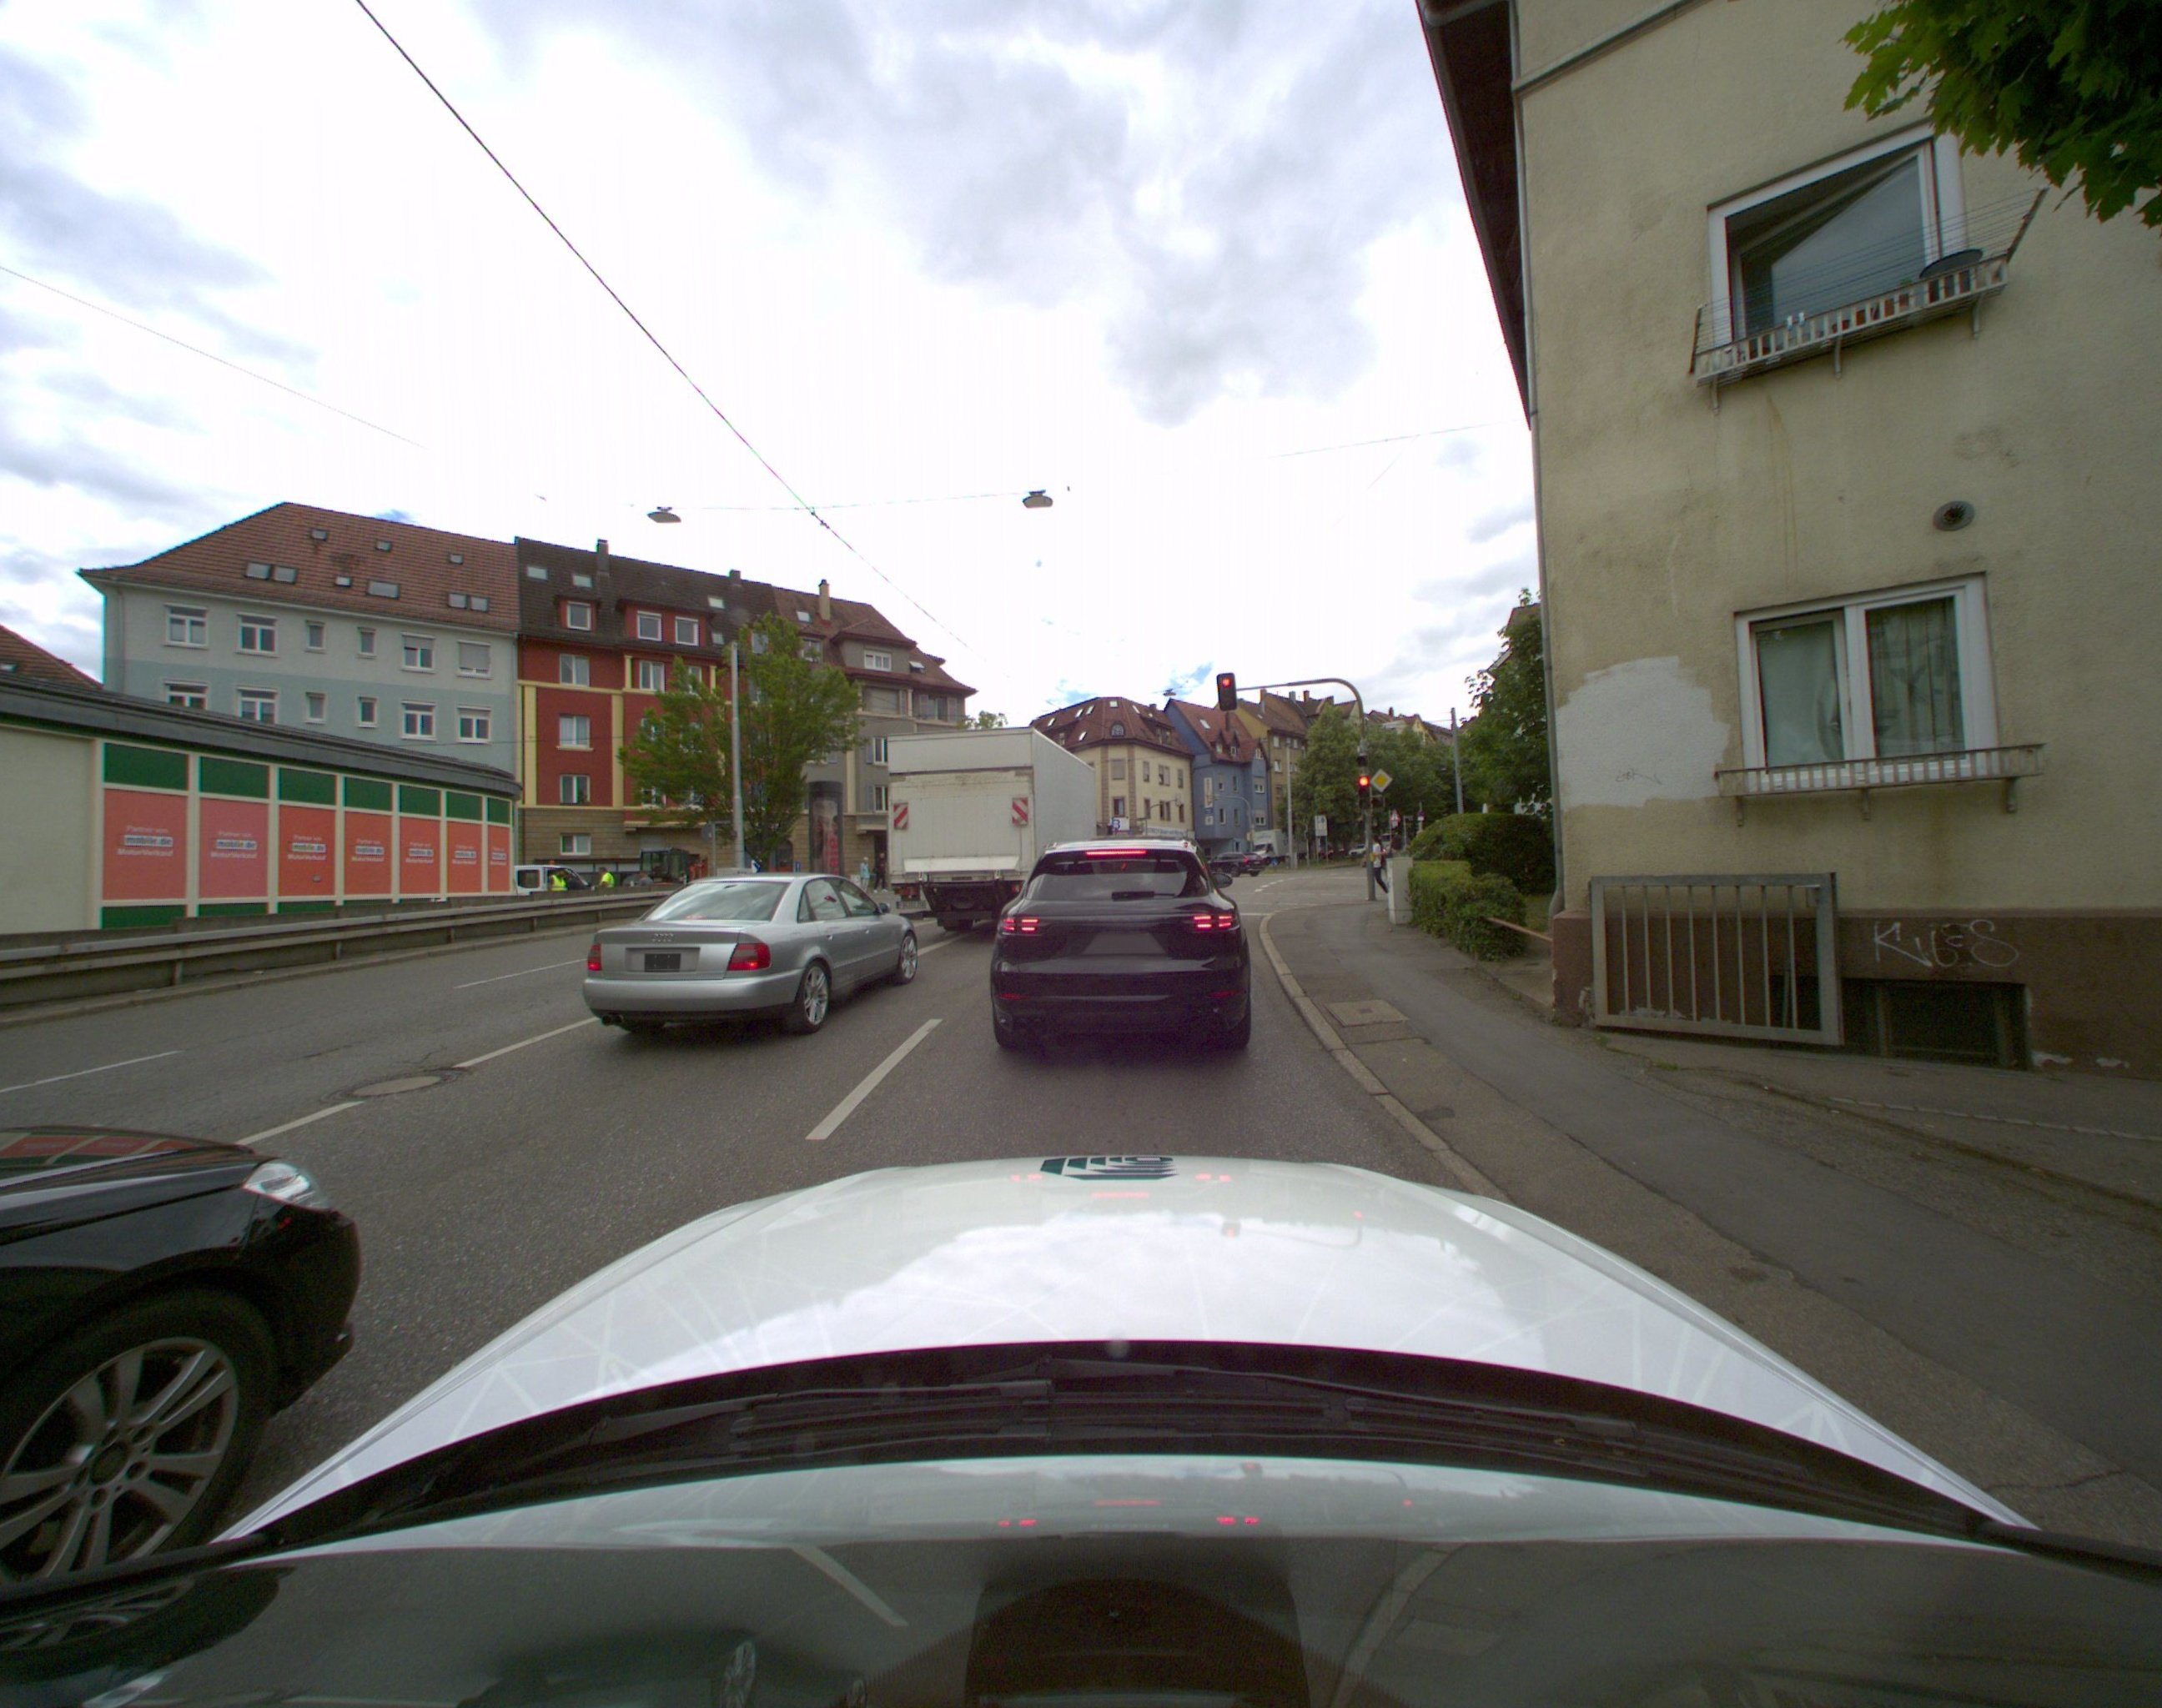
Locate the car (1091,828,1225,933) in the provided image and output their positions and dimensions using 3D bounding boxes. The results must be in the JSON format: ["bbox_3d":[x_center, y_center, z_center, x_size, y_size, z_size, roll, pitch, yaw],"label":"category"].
[{"bbox_3d":[1.581,0.443,15.167,1.980,1.684,4.014,-1,0,12],"label":"car"}]

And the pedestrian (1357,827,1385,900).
[{"bbox_3d":[7.336,0.246,20.599,0.585,1.819,0.531,1,-1,12],"label":"pedestrian"}]

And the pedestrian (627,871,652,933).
[{"bbox_3d":[-12.594,1.362,23.220,0.545,1.730,0.587,1,-1,-33],"label":"pedestrian"}]

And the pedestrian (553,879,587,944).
[{"bbox_3d":[-13.707,1.528,21.858,0.562,1.700,0.541,1,-1,-10],"label":"pedestrian"}]

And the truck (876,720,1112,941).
[{"bbox_3d":[-1.321,-0.395,17.381,2.751,3.575,8.088,-1,0,10],"label":"truck"}]

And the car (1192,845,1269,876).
[{"bbox_3d":[9.213,0.449,50.491,1.937,1.772,4.599,1,-3,-36],"label":"car"}]

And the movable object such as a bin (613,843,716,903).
[{"bbox_3d":[-13.286,0.582,26.254,1.903,1.771,3.984,1,0,-11],"label":"movable object such as a bin"}]

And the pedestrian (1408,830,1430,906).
[{"bbox_3d":[8.259,0.345,19.910,0.459,1.837,0.325,0,-1,16],"label":"pedestrian"}]

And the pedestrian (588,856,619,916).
[{"bbox_3d":[-14.231,0.941,24.267,0.570,1.761,0.616,1,-1,-7],"label":"pedestrian"}]

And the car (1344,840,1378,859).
[{"bbox_3d":[31.147,-0.474,90.616,1.975,2.014,4.023,0,-1,45],"label":"car"}]

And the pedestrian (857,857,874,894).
[{"bbox_3d":[-9.351,0.931,35.343,0.587,1.567,0.486,1,-1,1],"label":"pedestrian"}]

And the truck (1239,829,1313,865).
[{"bbox_3d":[18.878,-0.647,78.485,2.846,3.340,8.846,0,0,43],"label":"truck"}]

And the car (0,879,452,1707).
[{"bbox_3d":[-2.777,0.802,0.140,1.741,1.454,4.448,-1,0,2],"label":"car"}]

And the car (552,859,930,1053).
[{"bbox_3d":[-2.984,0.793,8.265,1.687,1.373,4.185,-1,1,6],"label":"car"}]

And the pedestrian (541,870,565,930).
[{"bbox_3d":[-15.573,1.347,24.033,0.479,1.730,0.536,1,-1,-44],"label":"pedestrian"}]

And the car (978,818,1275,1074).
[{"bbox_3d":[0.284,0.600,7.507,1.973,1.684,3.998,-1,0,-1],"label":"car"}]

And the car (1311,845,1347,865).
[{"bbox_3d":[26.115,0.127,85.823,1.975,2.014,4.023,0,-1,45],"label":"car"}]
